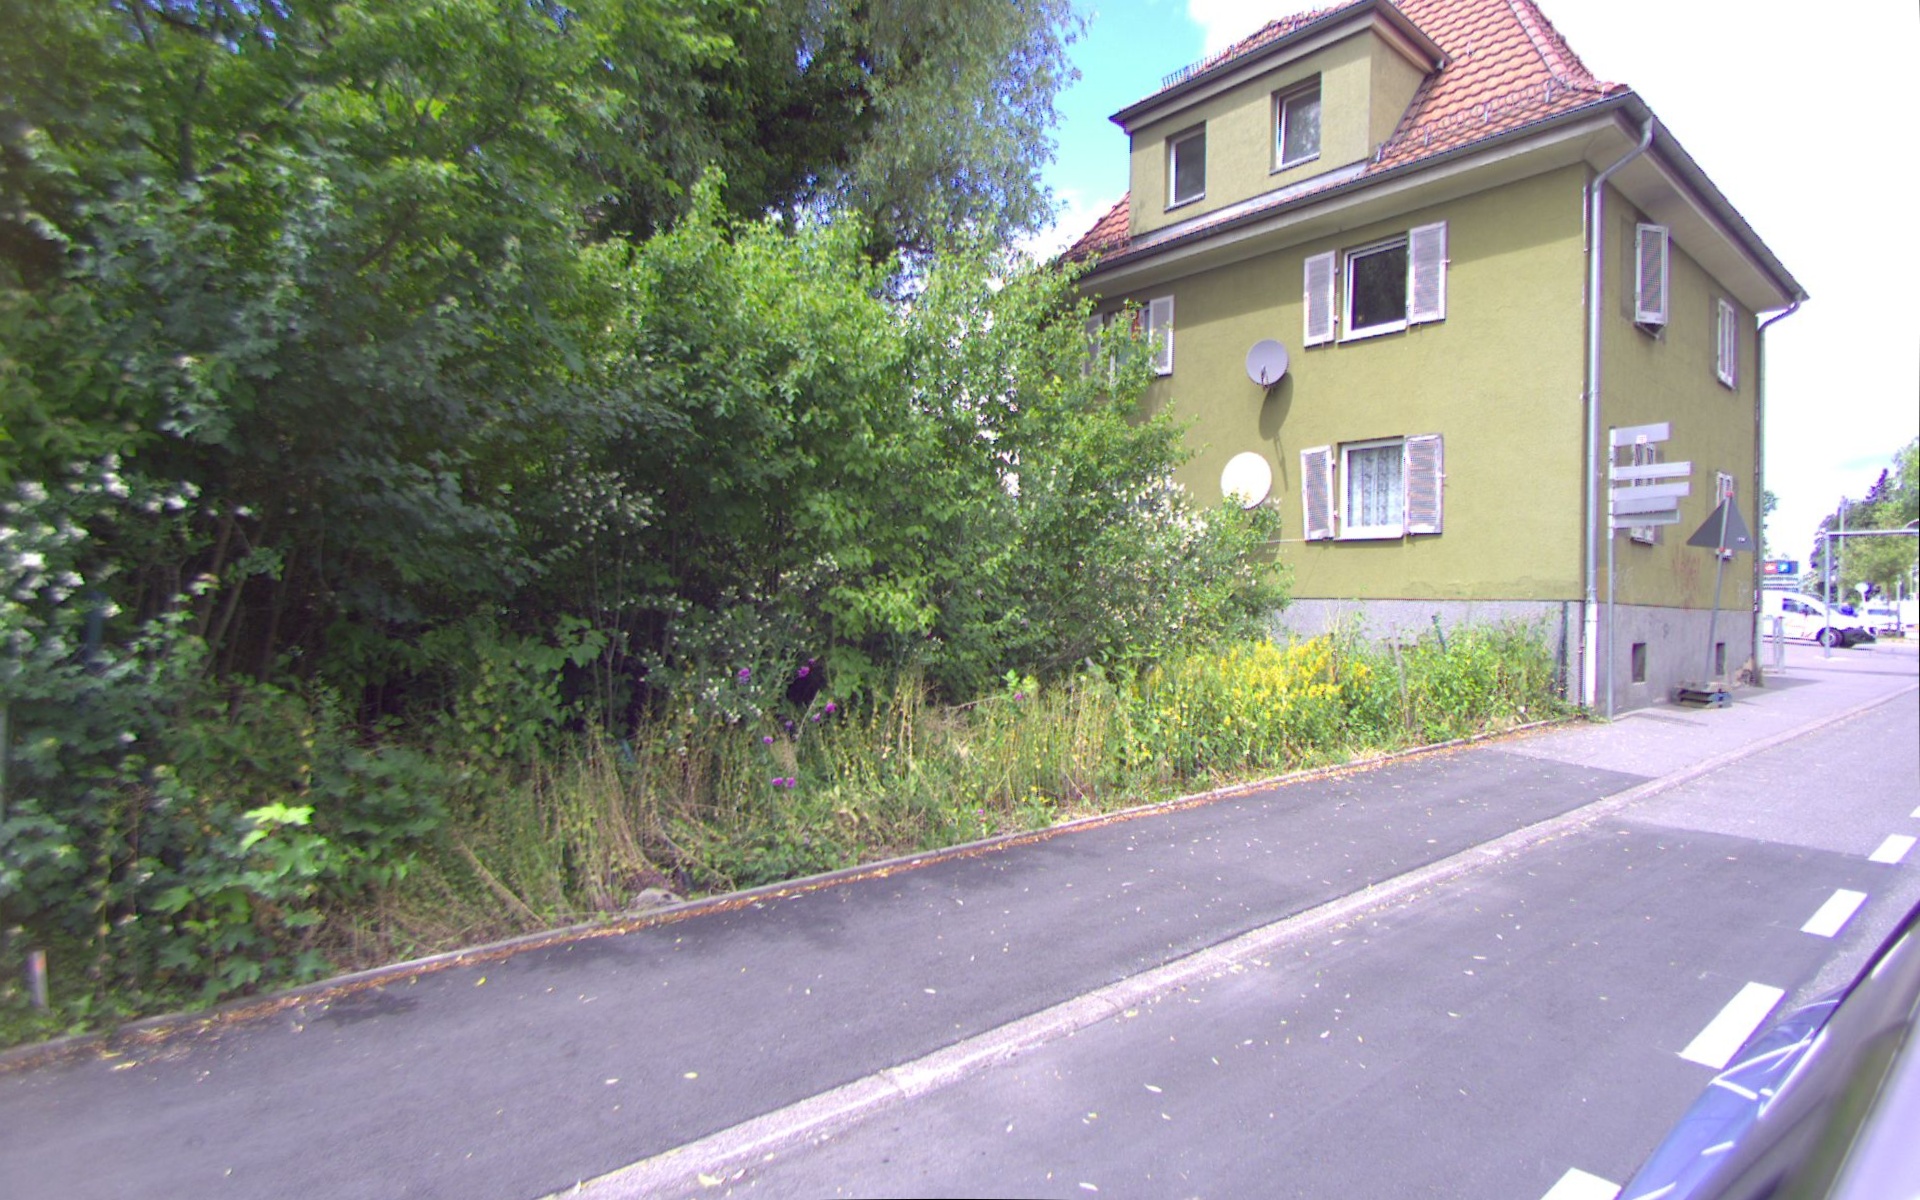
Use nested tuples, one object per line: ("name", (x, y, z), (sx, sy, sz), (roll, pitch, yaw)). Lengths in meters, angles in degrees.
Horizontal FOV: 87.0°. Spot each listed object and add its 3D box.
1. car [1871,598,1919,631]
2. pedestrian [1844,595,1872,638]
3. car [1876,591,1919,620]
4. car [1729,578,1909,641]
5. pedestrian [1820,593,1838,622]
("car", (47.575, 0.702, 51.214), (3.932, 1.529, 1.797), (-1, 1, -42))
("pedestrian", (33.167, 0.608, 37.385), (0.726, 1.572, 1.042), (1, 0, 39))
("car", (62.019, 0.387, 64.896), (1.762, 1.820, 4.514), (1, 2, -17))
("car", (29.681, 0.263, 35.110), (1.961, 2.019, 4.374), (0, 1, -32))
("pedestrian", (51.007, 0.444, 59.409), (0.765, 1.683, 0.721), (1, -3, -45))
